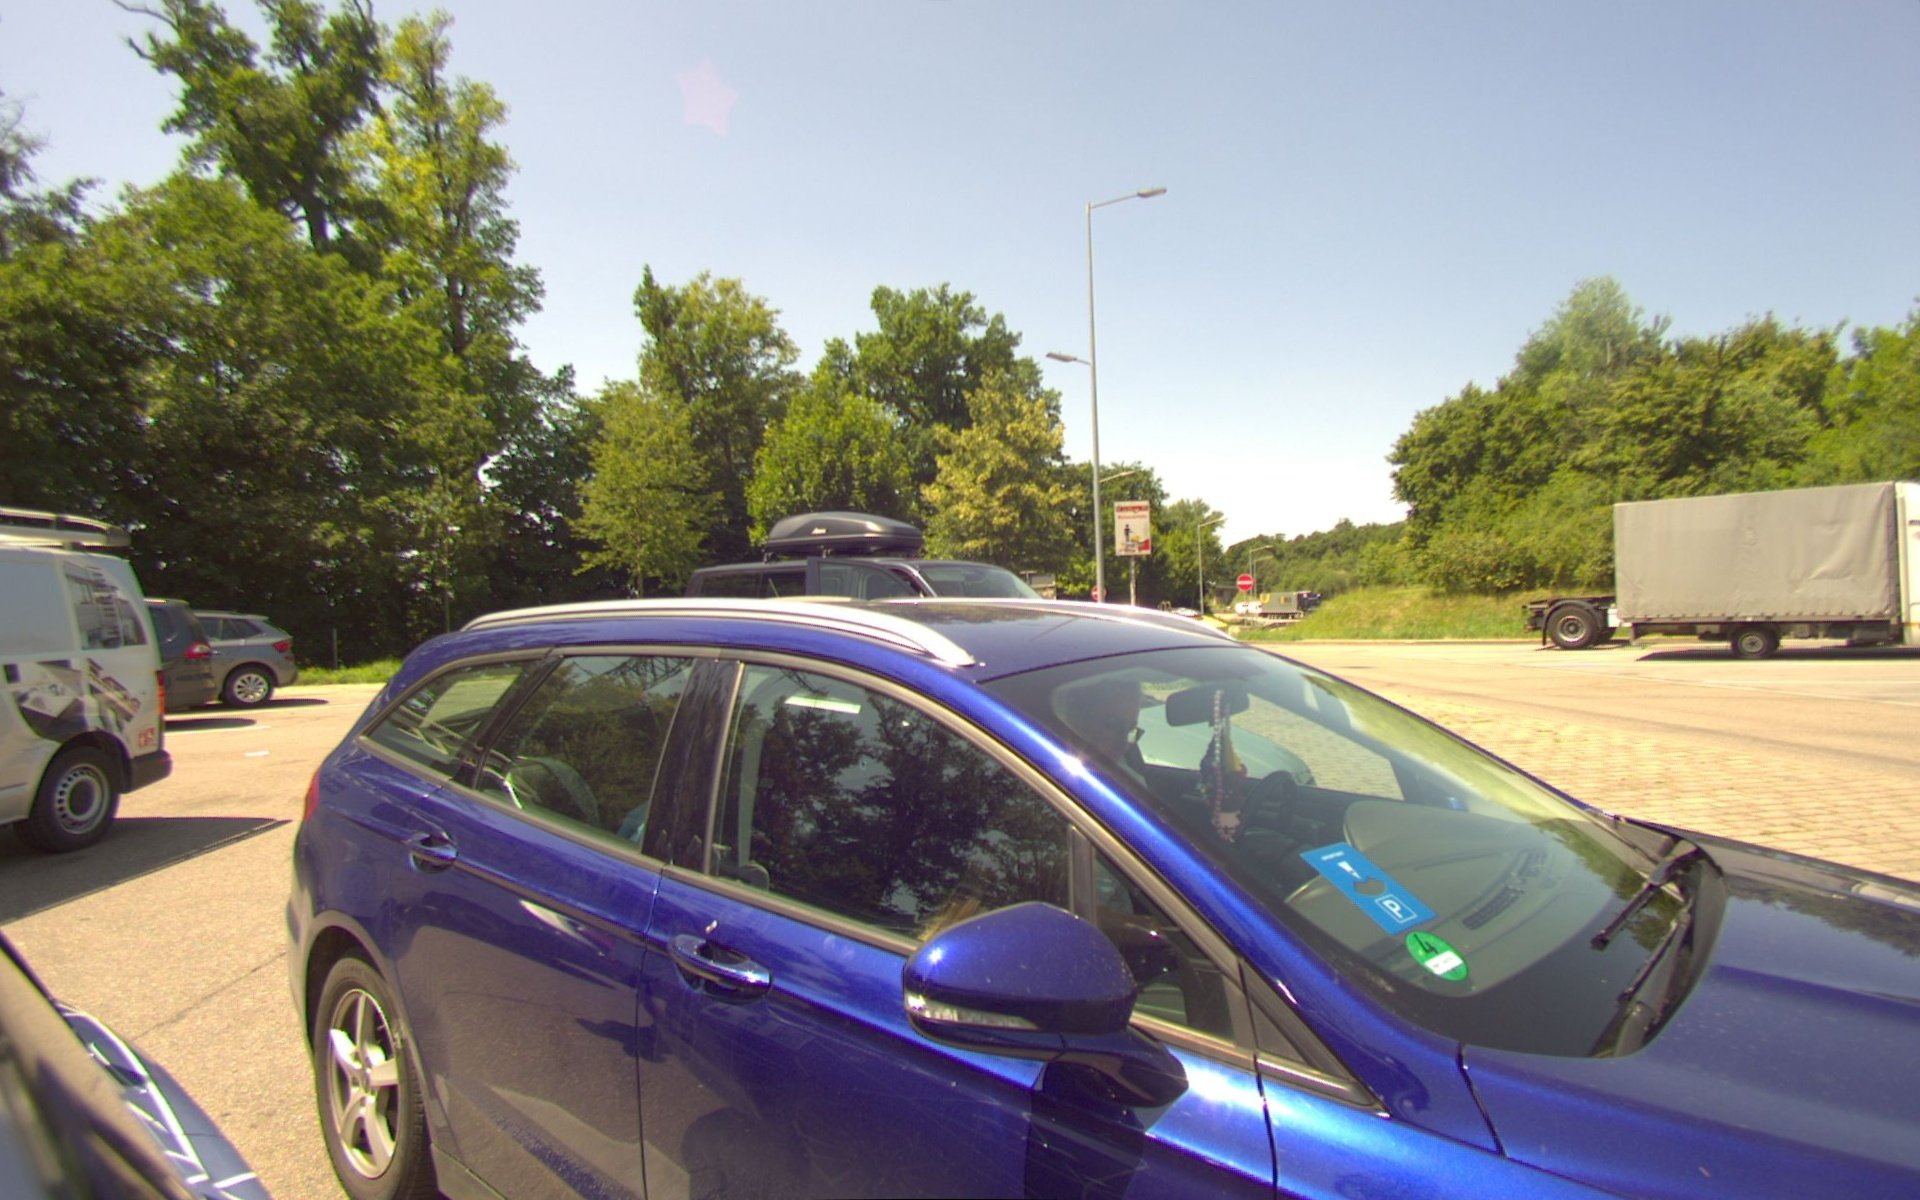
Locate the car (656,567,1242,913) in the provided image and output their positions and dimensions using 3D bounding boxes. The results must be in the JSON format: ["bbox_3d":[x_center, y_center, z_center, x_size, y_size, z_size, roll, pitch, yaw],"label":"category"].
[{"bbox_3d":[-0.216,0.593,5.552,3.112,1.370,1.326,-2,-1,41],"label":"car"}]

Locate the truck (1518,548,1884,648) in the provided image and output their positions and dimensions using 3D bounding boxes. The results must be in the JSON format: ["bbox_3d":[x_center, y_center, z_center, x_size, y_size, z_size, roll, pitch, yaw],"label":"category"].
[{"bbox_3d":[16.926,0.055,23.540,6.613,2.029,1.973,-2,-1,41],"label":"truck"}]

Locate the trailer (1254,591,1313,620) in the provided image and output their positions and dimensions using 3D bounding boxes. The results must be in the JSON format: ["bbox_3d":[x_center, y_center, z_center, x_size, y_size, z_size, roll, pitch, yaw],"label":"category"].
[{"bbox_3d":[48.466,0.887,152.205,2.459,4.009,14.765,0,-1,-7],"label":"trailer"}]

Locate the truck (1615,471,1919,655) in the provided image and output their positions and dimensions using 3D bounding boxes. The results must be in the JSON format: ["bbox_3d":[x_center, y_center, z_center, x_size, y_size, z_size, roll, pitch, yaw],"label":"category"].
[{"bbox_3d":[16.663,-0.619,18.785,7.253,3.175,2.148,-2,-1,41],"label":"truck"}]

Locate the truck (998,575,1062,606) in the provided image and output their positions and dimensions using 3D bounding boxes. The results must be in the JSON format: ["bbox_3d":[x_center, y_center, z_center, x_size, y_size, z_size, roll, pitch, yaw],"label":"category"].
[{"bbox_3d":[3.376,-0.450,48.819,2.866,1.386,1.158,-2,-1,22],"label":"truck"}]

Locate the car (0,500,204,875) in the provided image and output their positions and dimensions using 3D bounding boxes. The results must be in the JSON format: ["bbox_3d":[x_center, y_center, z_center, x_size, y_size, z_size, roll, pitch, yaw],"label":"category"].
[{"bbox_3d":[-6.254,0.478,4.687,1.816,2.121,5.440,0,-1,-5],"label":"car"}]

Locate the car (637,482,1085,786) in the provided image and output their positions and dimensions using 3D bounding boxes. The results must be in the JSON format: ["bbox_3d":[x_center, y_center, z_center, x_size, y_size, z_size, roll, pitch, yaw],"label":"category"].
[{"bbox_3d":[-1.052,0.321,9.690,4.076,2.336,1.767,-2,-1,35],"label":"car"}]

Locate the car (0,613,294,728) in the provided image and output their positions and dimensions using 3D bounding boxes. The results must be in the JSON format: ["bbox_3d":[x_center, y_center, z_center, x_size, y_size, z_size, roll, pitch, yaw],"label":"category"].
[{"bbox_3d":[-12.558,0.994,15.662,3.535,1.513,1.708,-1,0,-42],"label":"car"}]

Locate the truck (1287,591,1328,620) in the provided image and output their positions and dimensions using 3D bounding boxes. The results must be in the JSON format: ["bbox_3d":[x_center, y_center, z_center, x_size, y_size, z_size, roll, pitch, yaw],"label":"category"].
[{"bbox_3d":[49.473,0.816,144.282,2.459,4.009,7.317,0,-1,-7],"label":"truck"}]

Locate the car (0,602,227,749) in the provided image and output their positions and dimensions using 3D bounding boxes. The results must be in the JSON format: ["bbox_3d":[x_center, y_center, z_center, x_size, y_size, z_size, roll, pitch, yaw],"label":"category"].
[{"bbox_3d":[-11.592,0.900,12.576,1.755,1.701,3.798,-2,-1,45],"label":"car"}]

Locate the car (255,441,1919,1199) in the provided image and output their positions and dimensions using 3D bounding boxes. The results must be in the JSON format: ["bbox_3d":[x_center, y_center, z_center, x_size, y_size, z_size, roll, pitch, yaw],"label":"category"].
[{"bbox_3d":[0.235,0.645,2.048,4.411,1.429,1.721,-2,-1,41],"label":"car"}]
